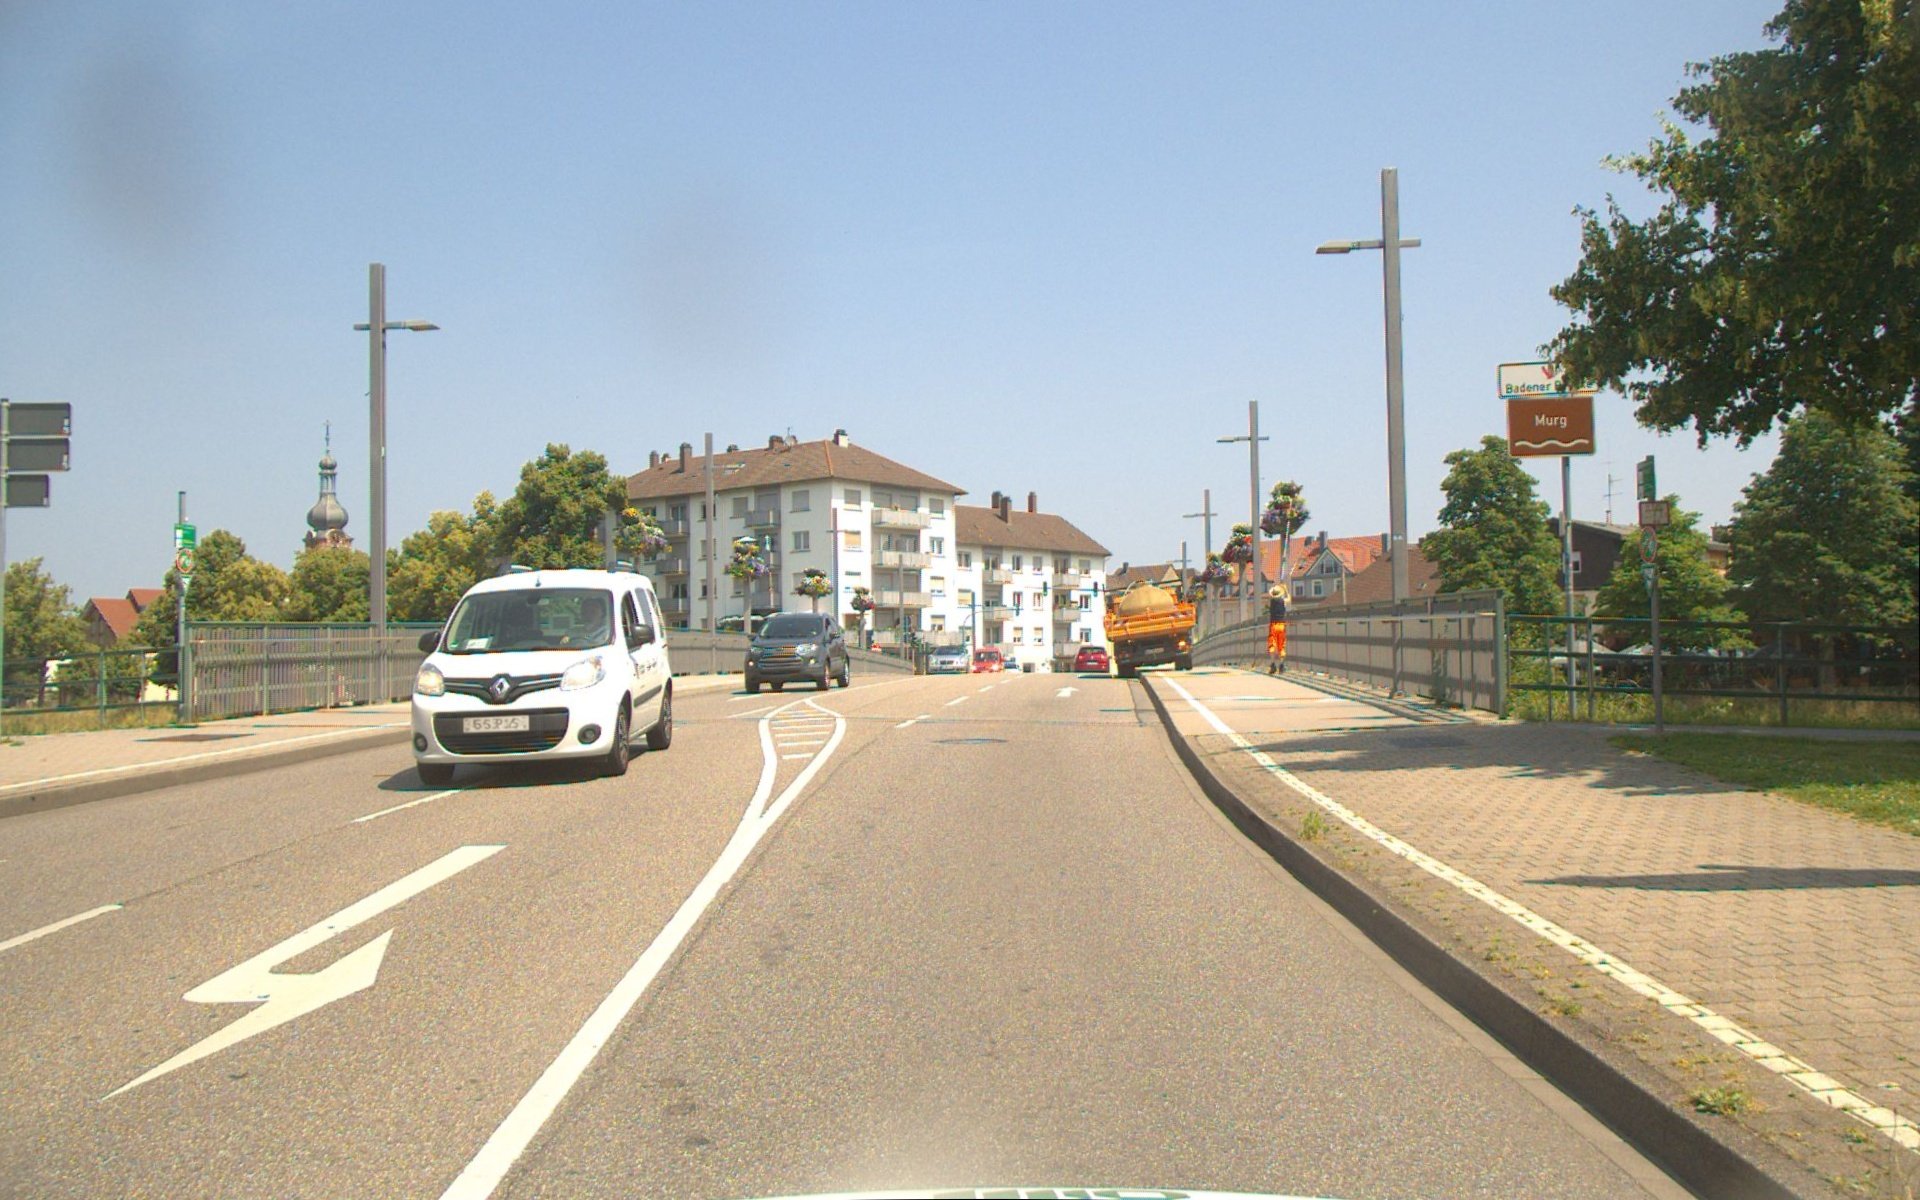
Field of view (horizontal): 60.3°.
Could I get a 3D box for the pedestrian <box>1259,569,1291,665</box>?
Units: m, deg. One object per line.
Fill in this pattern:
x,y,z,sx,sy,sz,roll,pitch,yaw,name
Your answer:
6.701,0.373,35.171,0.535,1.994,0.673,-2,-3,18,pedestrian

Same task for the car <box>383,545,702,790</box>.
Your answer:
-3.714,0.563,15.594,1.799,1.893,4.662,-2,-1,-1,car

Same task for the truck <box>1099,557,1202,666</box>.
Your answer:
5.153,0.385,45.164,2.550,2.738,5.826,-1,-2,6,truck

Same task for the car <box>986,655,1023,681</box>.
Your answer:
2.779,4.211,102.253,1.805,1.457,4.716,-3,-4,7,car

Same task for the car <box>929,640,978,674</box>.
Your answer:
-0.251,2.458,71.235,1.662,1.382,4.458,-1,-2,5,car

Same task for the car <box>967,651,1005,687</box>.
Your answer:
1.367,3.611,86.280,1.699,1.808,4.178,-1,-3,5,car

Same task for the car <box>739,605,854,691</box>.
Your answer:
-3.436,0.996,35.391,1.700,1.669,3.923,-2,-1,5,car

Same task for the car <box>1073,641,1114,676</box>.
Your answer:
6.639,2.917,82.725,1.948,1.641,4.343,-1,-2,3,car
